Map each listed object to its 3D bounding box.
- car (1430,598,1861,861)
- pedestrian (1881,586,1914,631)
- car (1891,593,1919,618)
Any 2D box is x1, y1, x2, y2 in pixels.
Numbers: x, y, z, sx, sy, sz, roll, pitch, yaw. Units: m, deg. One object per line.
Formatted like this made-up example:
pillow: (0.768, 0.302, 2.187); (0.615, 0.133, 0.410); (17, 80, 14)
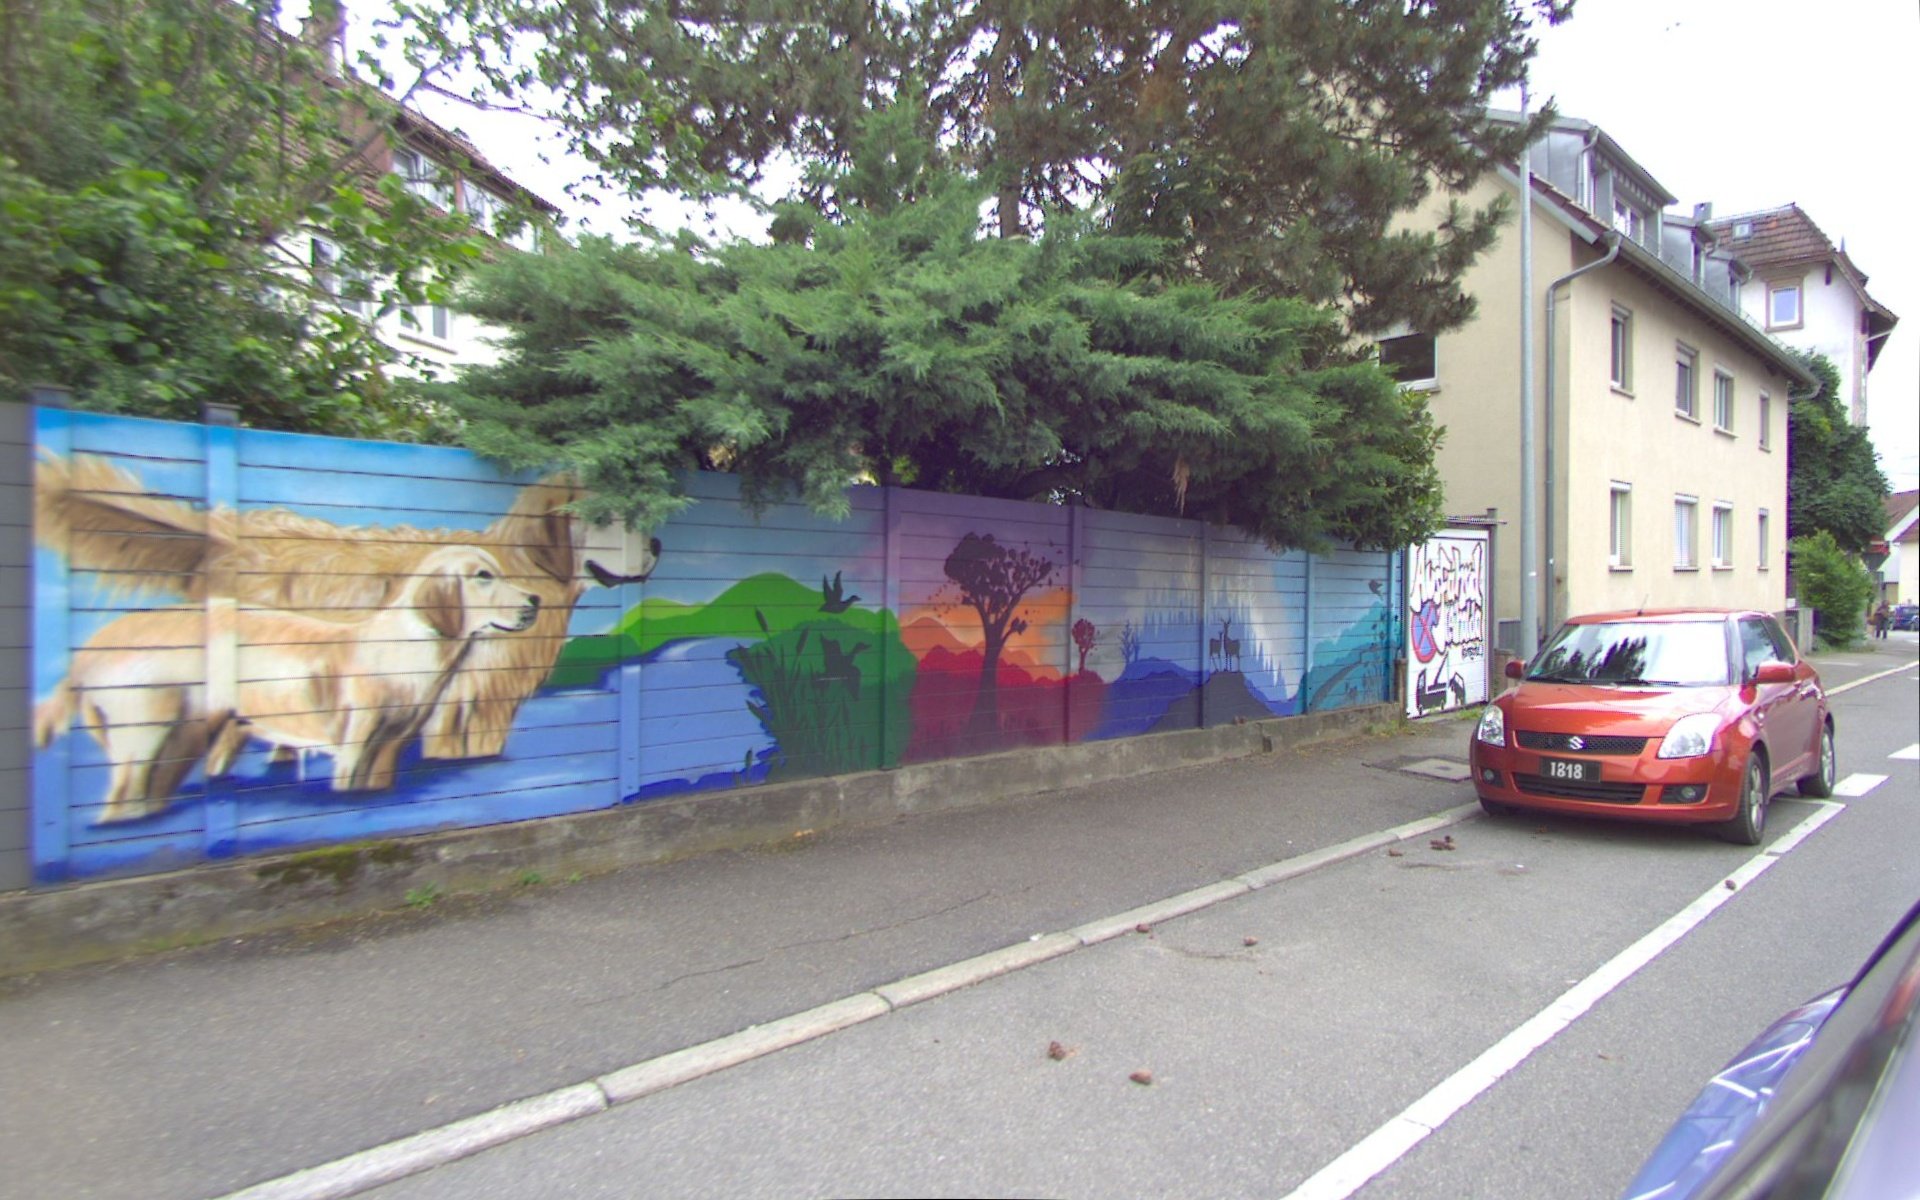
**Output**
car: (5.377, 0.747, 7.746); (3.930, 1.470, 1.761); (-1, -1, -41)
pedestrian: (37.267, 0.356, 40.227); (0.856, 1.755, 1.008); (0, -2, 38)
car: (67.661, 0.412, 71.593); (1.707, 1.753, 3.957); (0, -1, 29)
